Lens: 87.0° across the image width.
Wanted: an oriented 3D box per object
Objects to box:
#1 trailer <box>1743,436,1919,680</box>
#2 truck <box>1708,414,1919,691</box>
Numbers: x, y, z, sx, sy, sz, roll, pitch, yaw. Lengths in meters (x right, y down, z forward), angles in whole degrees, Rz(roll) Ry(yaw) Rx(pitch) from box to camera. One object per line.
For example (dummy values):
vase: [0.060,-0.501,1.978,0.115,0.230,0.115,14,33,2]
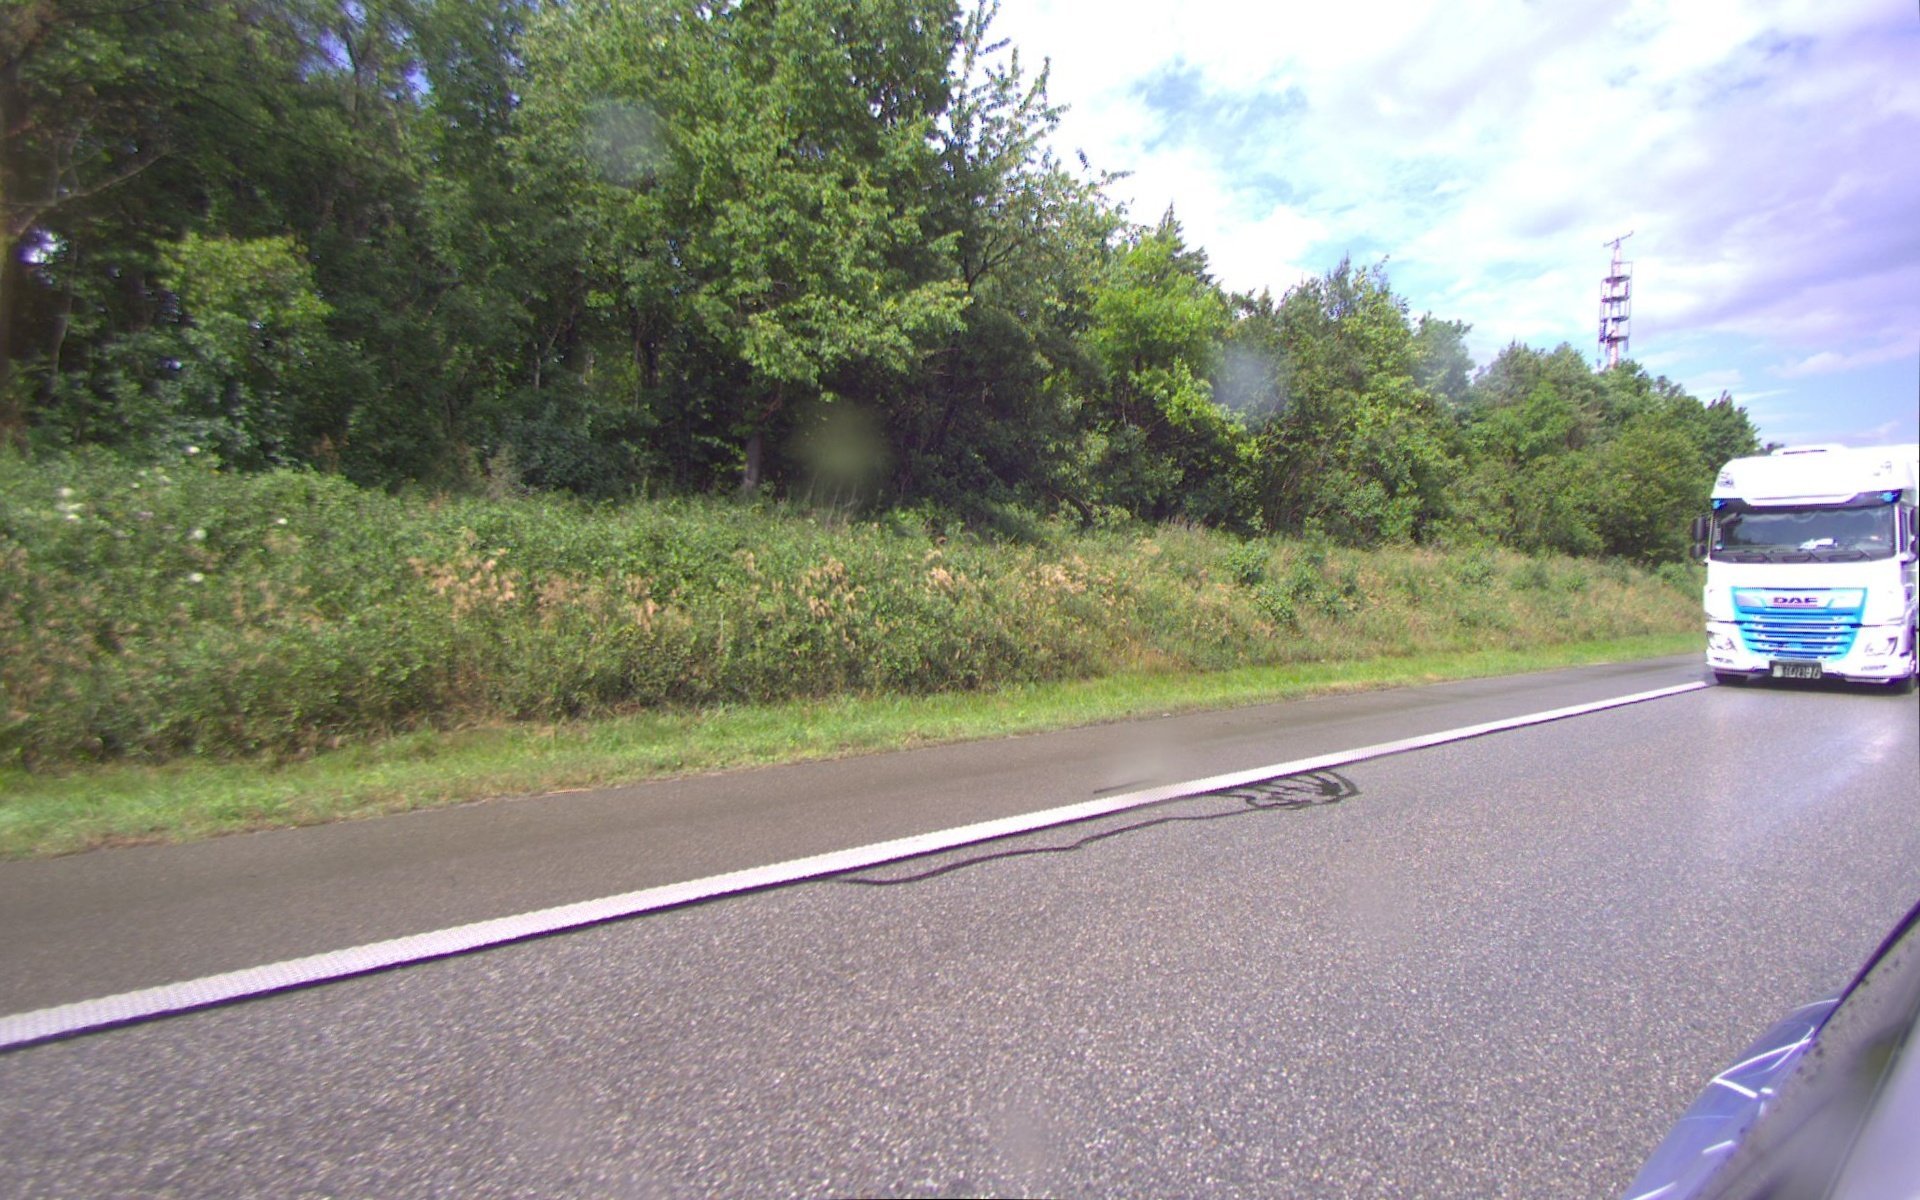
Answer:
trailer: [20.327,-0.753,22.108,13.822,4.046,2.638,-1,0,-42]
truck: [15.904,-0.727,18.136,7.165,4.046,2.610,0,0,-42]
